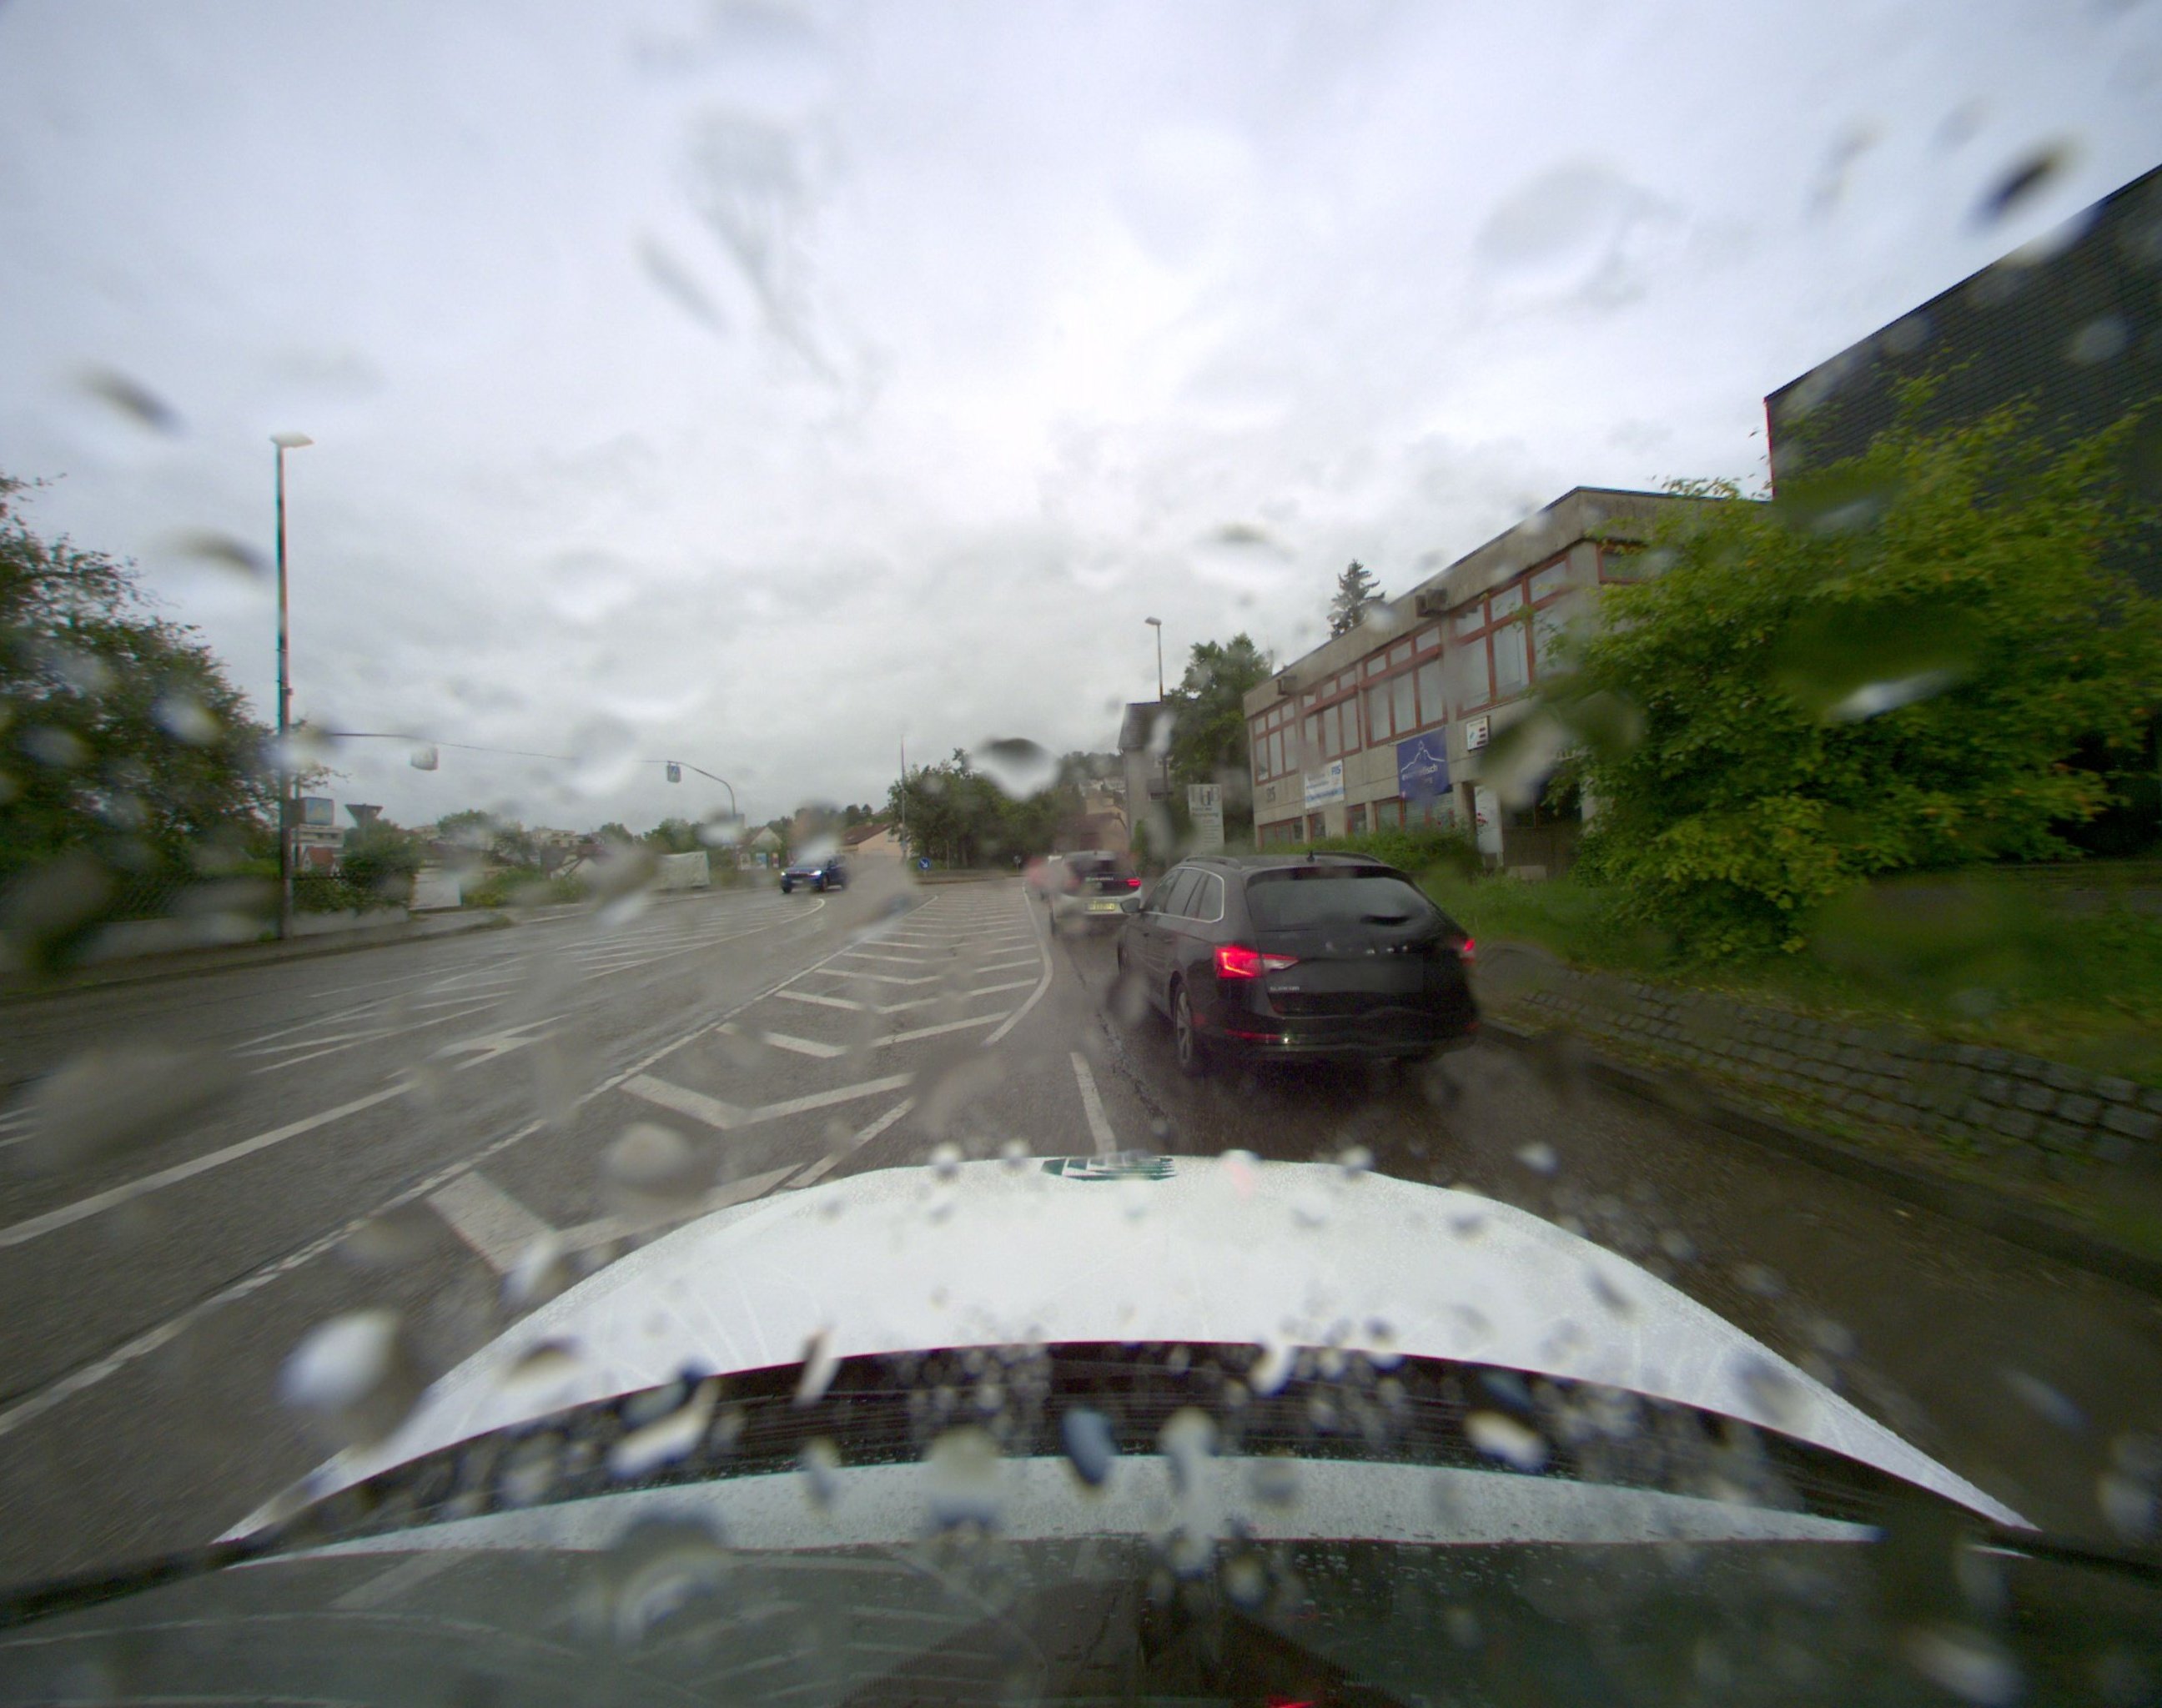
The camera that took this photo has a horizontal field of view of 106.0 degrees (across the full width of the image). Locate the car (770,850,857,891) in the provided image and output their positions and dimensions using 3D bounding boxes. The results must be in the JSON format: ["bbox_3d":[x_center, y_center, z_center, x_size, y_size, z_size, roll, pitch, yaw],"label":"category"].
[{"bbox_3d":[-11.858,0.734,36.494,1.984,1.693,4.712,-1,-1,5],"label":"car"}]

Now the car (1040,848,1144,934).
[{"bbox_3d":[0.180,0.692,16.619,1.823,1.500,4.166,-1,-1,-1],"label":"car"}]

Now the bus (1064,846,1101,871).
[{"bbox_3d":[0.256,0.481,93.883,2.379,2.676,7.077,-2,0,15],"label":"bus"}]

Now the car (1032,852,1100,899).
[{"bbox_3d":[-0.607,0.710,27.715,1.846,1.410,4.290,-1,-1,-7],"label":"car"}]

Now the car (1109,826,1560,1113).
[{"bbox_3d":[1.470,0.650,6.670,1.951,1.507,4.600,1,-1,-5],"label":"car"}]

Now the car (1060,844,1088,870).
[{"bbox_3d":[-0.396,0.192,51.693,1.561,1.530,4.002,-2,0,2],"label":"car"}]
